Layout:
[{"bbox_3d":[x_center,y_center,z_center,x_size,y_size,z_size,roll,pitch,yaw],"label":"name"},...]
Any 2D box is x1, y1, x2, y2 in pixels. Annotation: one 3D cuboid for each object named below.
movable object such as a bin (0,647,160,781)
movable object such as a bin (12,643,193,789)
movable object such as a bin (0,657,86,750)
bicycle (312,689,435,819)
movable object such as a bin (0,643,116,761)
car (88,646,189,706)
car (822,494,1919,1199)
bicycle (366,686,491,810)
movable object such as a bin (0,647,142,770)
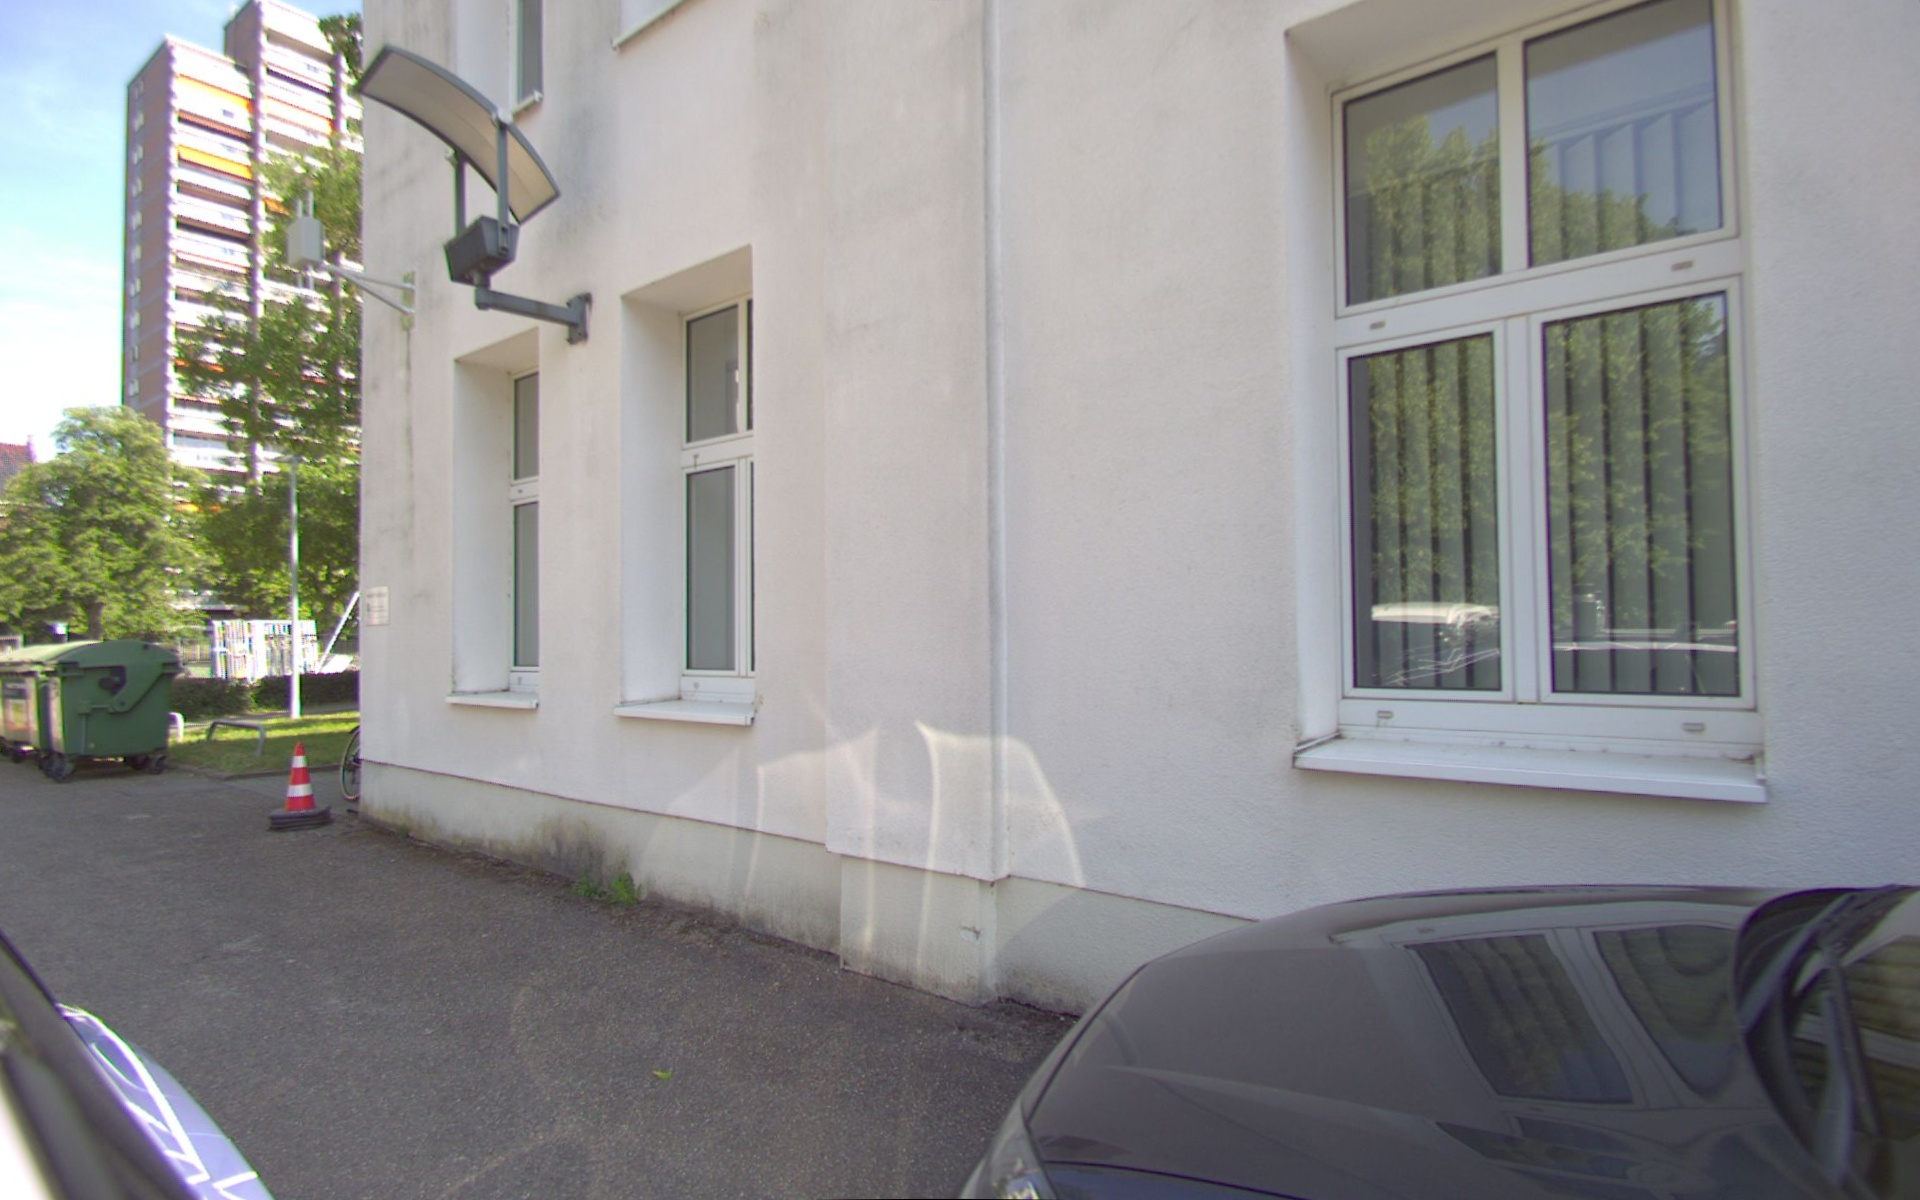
[{"bbox_3d":[-10.394,1.285,11.918,1.364,1.442,1.232,-3,-3,38],"label":"movable object such as a bin"},{"bbox_3d":[-9.253,1.192,10.932,1.348,1.442,1.232,-3,-3,38],"label":"movable object such as a bin"},{"bbox_3d":[-15.042,1.640,16.327,1.227,1.407,1.408,1,-3,-33],"label":"movable object such as a bin"},{"bbox_3d":[-5.059,1.276,8.696,1.540,1.000,0.439,-4,-5,42],"label":"bicycle"},{"bbox_3d":[-12.499,1.346,13.757,1.335,1.493,1.234,-2,-3,33],"label":"movable object such as a bin"},{"bbox_3d":[-27.375,2.484,33.874,1.889,1.794,4.325,-1,-2,-29],"label":"car"},{"bbox_3d":[2.131,0.637,0.537,4.424,1.452,1.819,-1,1,39],"label":"car"},{"bbox_3d":[-4.802,1.287,9.108,1.629,1.000,0.439,-4,-5,42],"label":"bicycle"},{"bbox_3d":[-11.426,1.336,12.846,1.218,1.442,1.236,-2,-3,28],"label":"movable object such as a bin"}]
